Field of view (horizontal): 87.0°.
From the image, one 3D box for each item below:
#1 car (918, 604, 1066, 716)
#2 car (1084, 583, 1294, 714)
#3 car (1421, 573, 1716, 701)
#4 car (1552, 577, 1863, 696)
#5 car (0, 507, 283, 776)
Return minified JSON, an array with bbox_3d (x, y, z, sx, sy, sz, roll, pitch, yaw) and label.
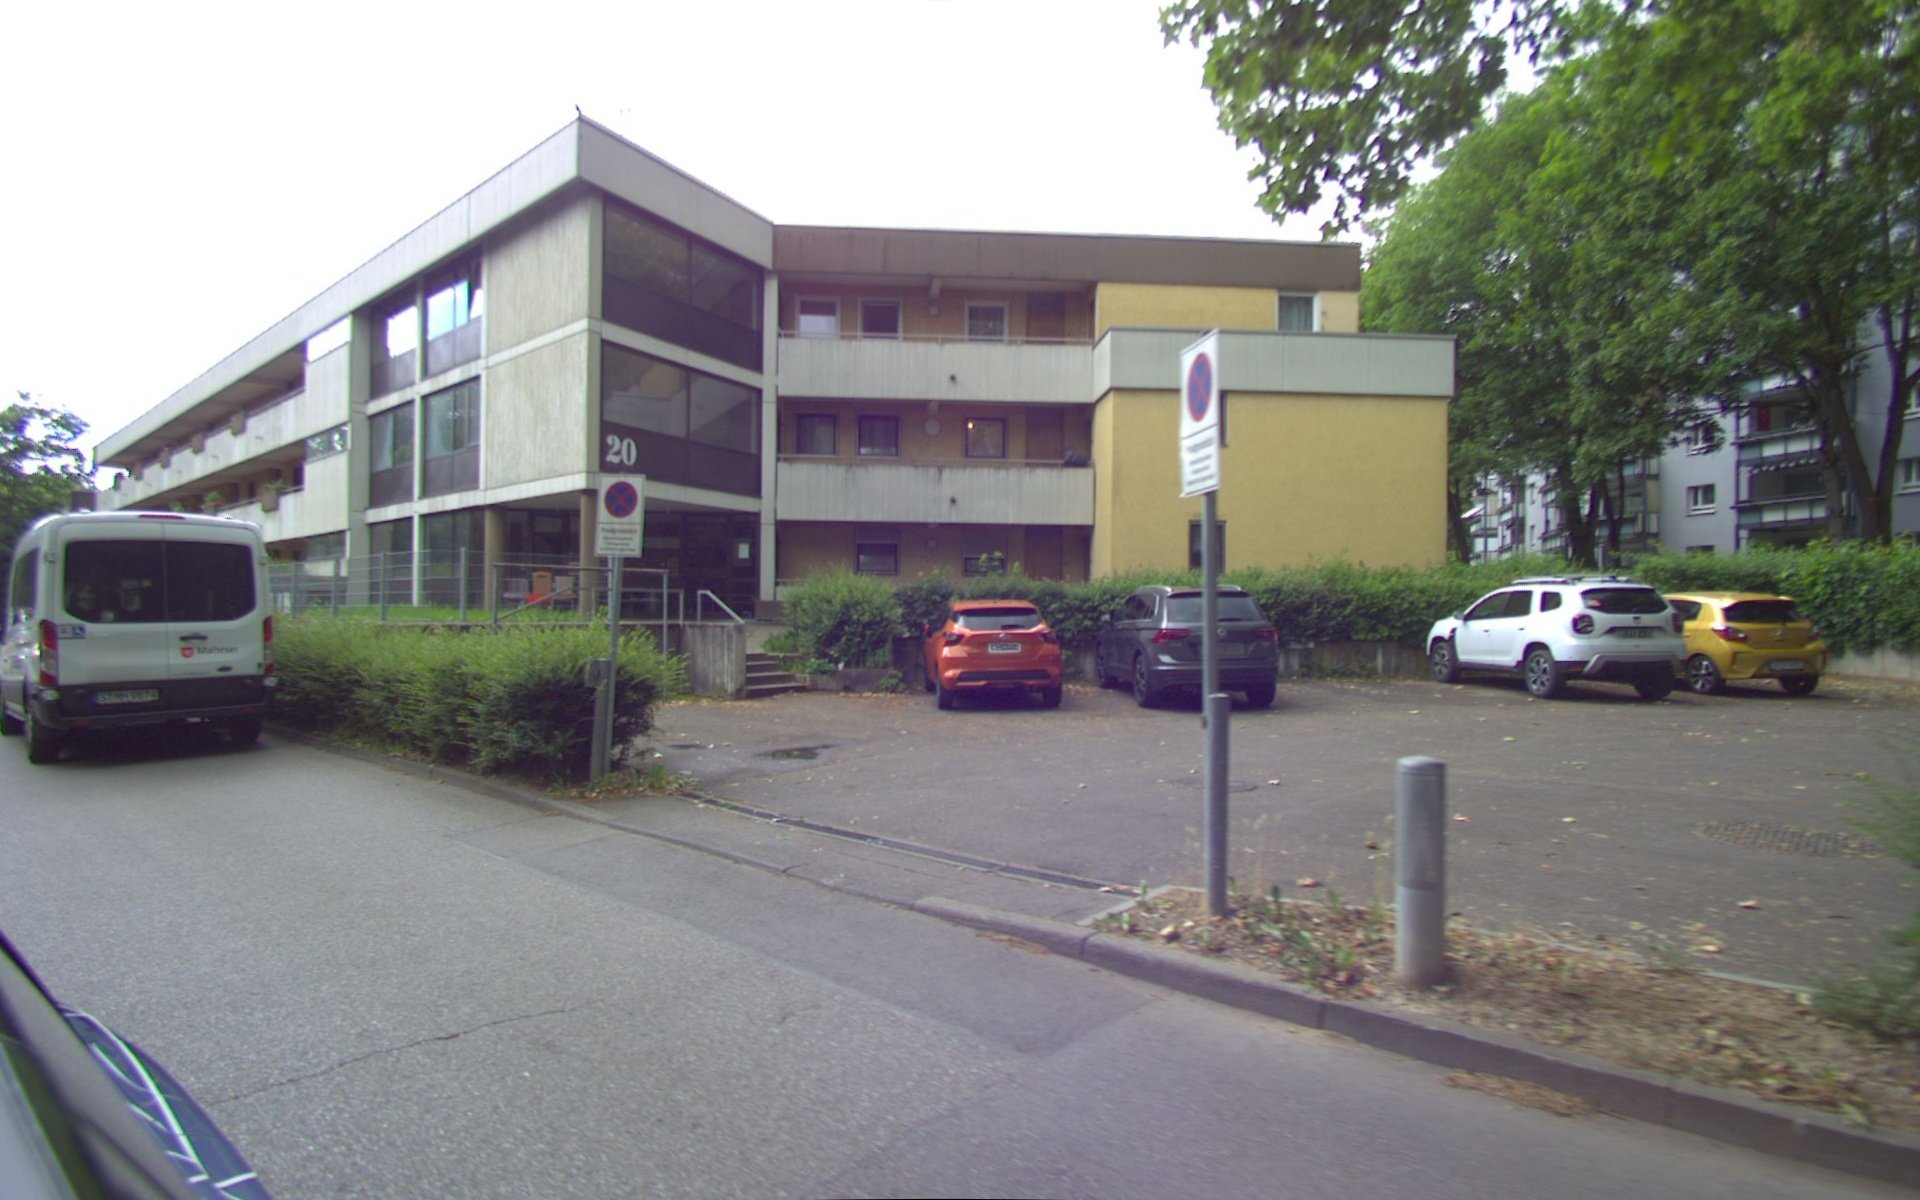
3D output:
[{"bbox_3d":[0.336,0.790,15.133,1.723,1.441,4.004,0,0,-5],"label":"car"},{"bbox_3d":[3.117,0.611,14.637,1.797,1.623,4.004,0,0,-5],"label":"car"},{"bbox_3d":[8.871,0.498,15.252,1.780,1.661,4.118,0,0,-3],"label":"car"},{"bbox_3d":[11.391,0.511,15.837,1.724,1.623,4.003,0,0,-3],"label":"car"},{"bbox_3d":[-10.292,0.438,12.319,6.278,2.494,2.108,-2,-1,44],"label":"car"}]
